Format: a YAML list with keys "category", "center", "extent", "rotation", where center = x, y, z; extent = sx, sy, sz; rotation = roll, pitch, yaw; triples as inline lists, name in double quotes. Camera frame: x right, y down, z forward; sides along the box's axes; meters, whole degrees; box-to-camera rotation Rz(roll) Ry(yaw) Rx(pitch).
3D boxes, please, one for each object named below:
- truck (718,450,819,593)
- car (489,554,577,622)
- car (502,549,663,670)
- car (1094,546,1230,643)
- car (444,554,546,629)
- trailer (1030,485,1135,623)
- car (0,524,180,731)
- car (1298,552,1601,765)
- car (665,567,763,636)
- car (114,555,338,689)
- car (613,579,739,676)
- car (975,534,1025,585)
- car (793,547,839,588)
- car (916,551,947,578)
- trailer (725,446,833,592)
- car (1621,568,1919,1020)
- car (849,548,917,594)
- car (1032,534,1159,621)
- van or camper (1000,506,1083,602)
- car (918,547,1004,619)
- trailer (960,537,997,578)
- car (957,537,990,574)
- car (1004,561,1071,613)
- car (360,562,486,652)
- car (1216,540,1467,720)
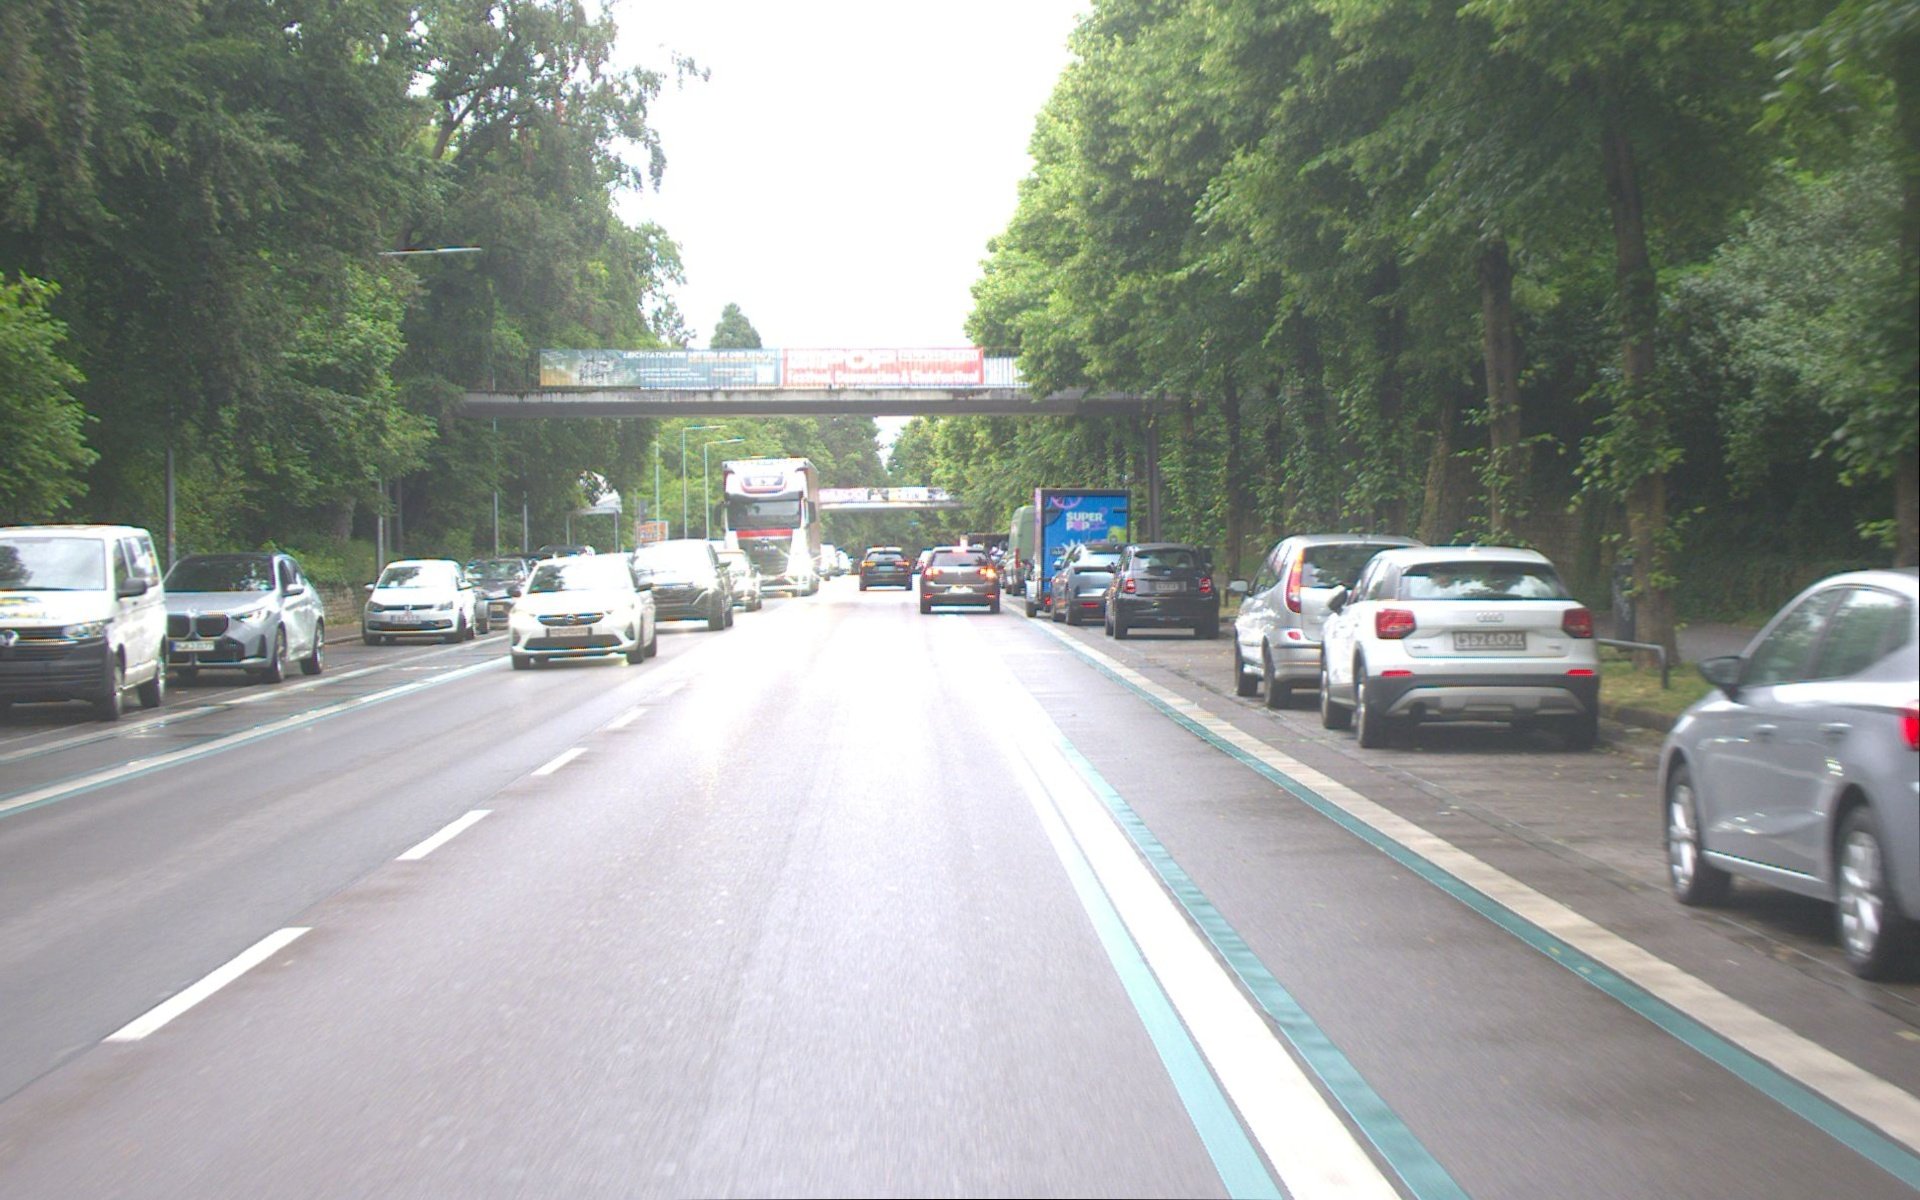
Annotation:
- category: "truck"
  center: [-5.676, -2.318, 102.559]
  extent: [2.517, 4.032, 4.916]
  rotation: [-3, 1, 0]
- category: "car"
  center: [-10.264, -0.306, 82.830]
  extent: [1.687, 1.541, 4.233]
  rotation: [-1, 1, -2]
- category: "car"
  center: [-4.995, 0.090, 45.911]
  extent: [1.775, 1.461, 4.063]
  rotation: [-3, 1, -2]
- category: "car"
  center: [3.257, -0.117, 56.163]
  extent: [1.825, 1.498, 4.571]
  rotation: [-1, 1, -1]
- category: "car"
  center: [-9.693, -0.199, 71.881]
  extent: [1.831, 1.472, 4.041]
  rotation: [-1, 1, -4]
- category: "trailer"
  center: [2.502, -0.955, 71.048]
  extent: [1.952, 2.749, 4.007]
  rotation: [0, 1, -1]
- category: "car"
  center: [-9.478, 0.214, 35.876]
  extent: [1.973, 1.998, 5.019]
  rotation: [0, 1, -5]
- category: "car"
  center: [3.768, 0.394, 27.147]
  extent: [1.698, 1.508, 4.469]
  rotation: [1, 1, 0]
- category: "car"
  center: [-5.731, 0.011, 80.449]
  extent: [1.915, 1.451, 4.621]
  rotation: [-2, 1, 0]
- category: "car"
  center: [-9.470, 0.238, 44.725]
  extent: [2.010, 1.600, 4.780]
  rotation: [-1, 1, -2]
- category: "car"
  center: [-5.116, 0.470, 62.496]
  extent: [1.961, 1.611, 4.466]
  rotation: [-1, 1, -1]
- category: "car"
  center: [1.629, -1.678, 141.390]
  extent: [1.926, 2.015, 4.664]
  rotation: [1, 1, -1]
- category: "car"
  center: [-6.216, -1.402, 148.894]
  extent: [1.834, 1.661, 4.181]
  rotation: [-3, 1, -1]
- category: "car"
  center: [-1.696, -2.090, 202.091]
  extent: [1.731, 1.578, 4.037]
  rotation: [-1, 1, -1]
- category: "trailer"
  center: [-5.670, -2.539, 109.614]
  extent: [2.687, 4.244, 12.770]
  rotation: [-3, 1, -1]
- category: "car"
  center: [3.855, 0.625, 13.290]
  extent: [1.698, 1.448, 4.098]
  rotation: [1, 1, -1]
- category: "car"
  center: [-2.599, -0.998, 115.489]
  extent: [2.140, 1.487, 4.499]
  rotation: [1, 1, -3]
- category: "car"
  center: [2.521, -0.450, 65.093]
  extent: [1.899, 1.542, 4.756]
  rotation: [1, 1, -3]
- category: "van or camper"
  center: [2.389, -1.377, 102.054]
  extent: [2.042, 2.720, 6.901]
  rotation: [1, 1, -2]
- category: "car"
  center: [0.018, -0.401, 75.301]
  extent: [1.818, 1.503, 4.139]
  rotation: [0, 1, 0]
- category: "trailer"
  center: [1.000, -2.288, 184.738]
  extent: [1.884, 2.158, 3.808]
  rotation: [-1, 1, 0]
- category: "car"
  center: [0.784, -2.595, 201.497]
  extent: [1.889, 2.120, 4.045]
  rotation: [-1, 1, 0]
- category: "car"
  center: [2.122, -0.379, 94.918]
  extent: [1.686, 1.411, 4.100]
  rotation: [0, 1, -1]
- category: "car"
  center: [-9.552, 0.103, 61.407]
  extent: [1.789, 1.477, 3.983]
  rotation: [-1, 1, -3]
- category: "car"
  center: [3.577, 0.226, 32.991]
  extent: [1.753, 1.591, 4.740]
  rotation: [0, 1, -1]
